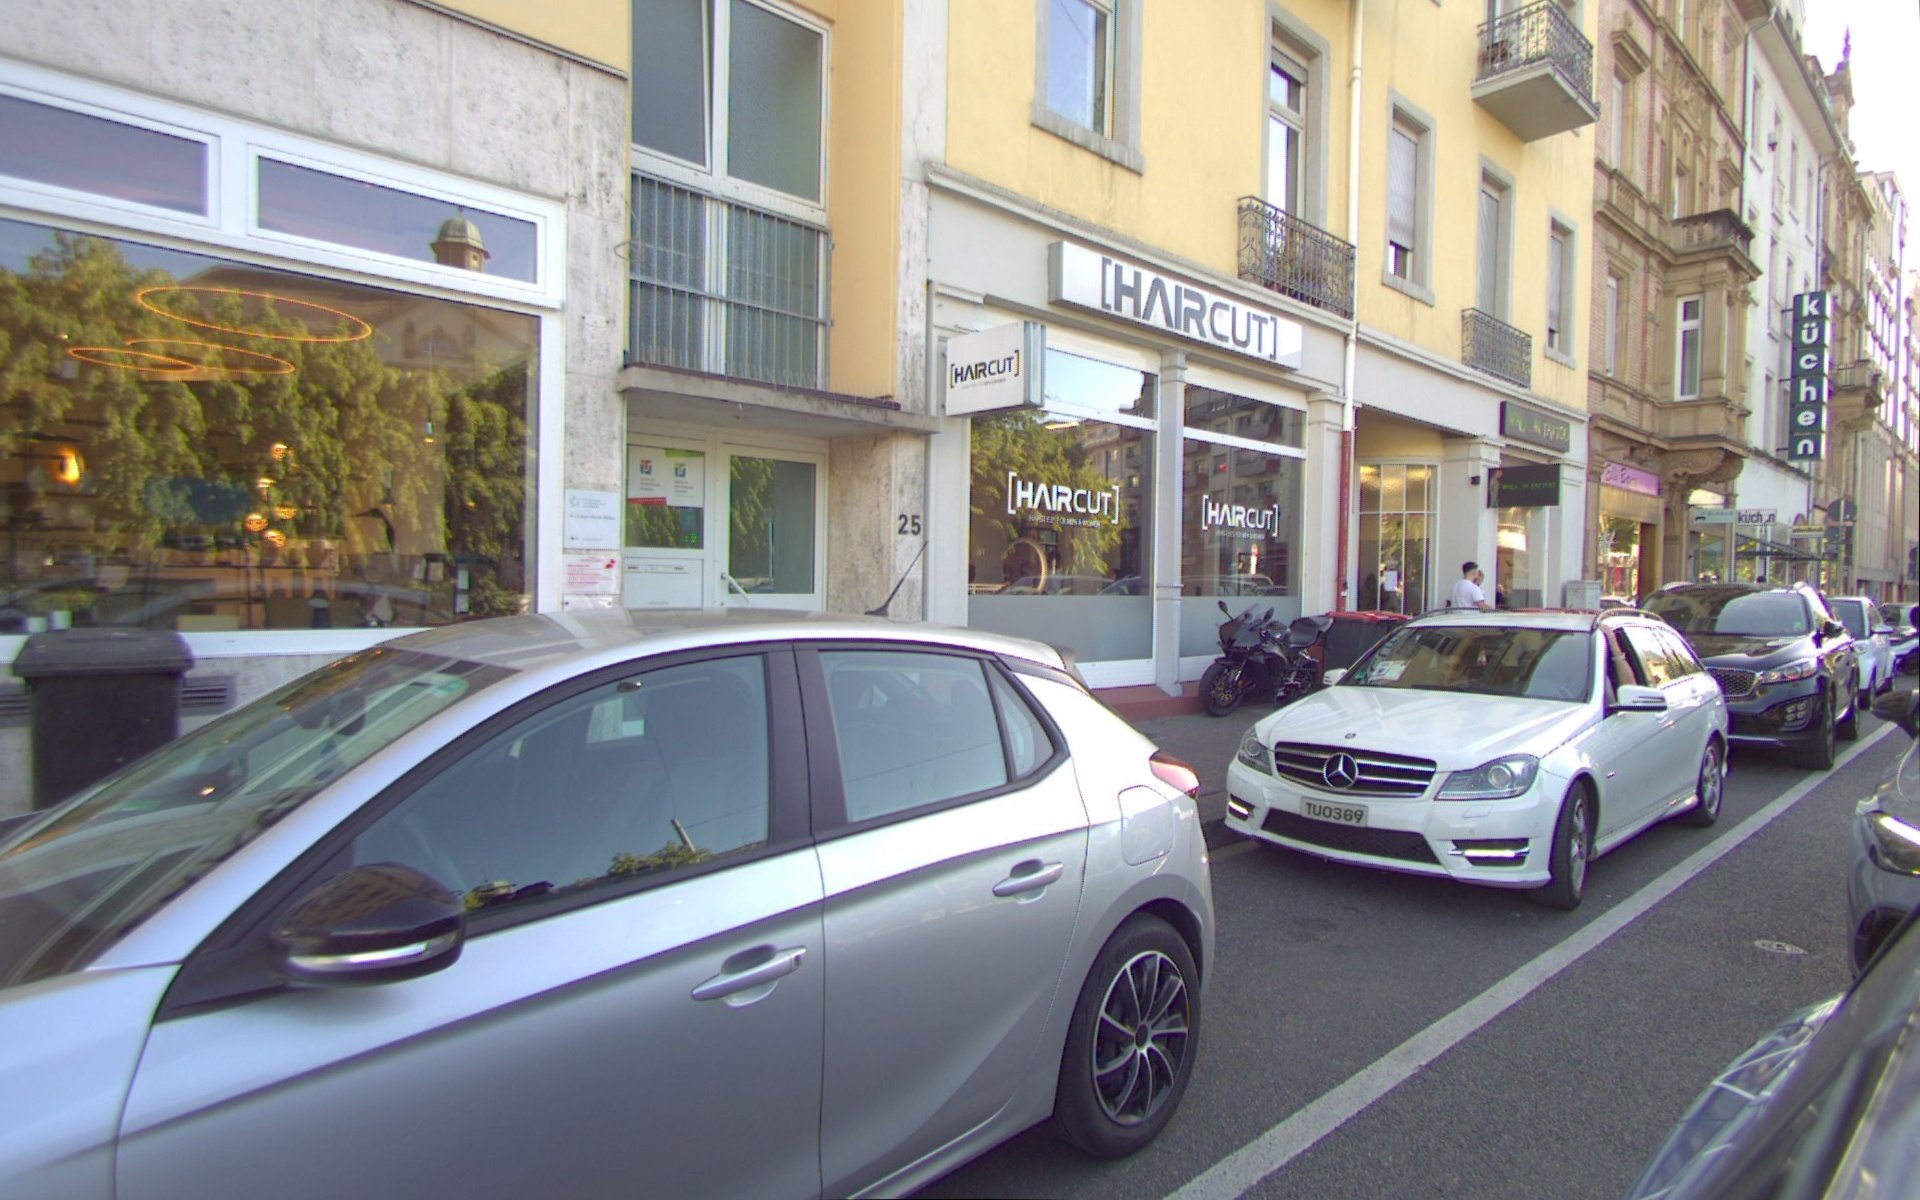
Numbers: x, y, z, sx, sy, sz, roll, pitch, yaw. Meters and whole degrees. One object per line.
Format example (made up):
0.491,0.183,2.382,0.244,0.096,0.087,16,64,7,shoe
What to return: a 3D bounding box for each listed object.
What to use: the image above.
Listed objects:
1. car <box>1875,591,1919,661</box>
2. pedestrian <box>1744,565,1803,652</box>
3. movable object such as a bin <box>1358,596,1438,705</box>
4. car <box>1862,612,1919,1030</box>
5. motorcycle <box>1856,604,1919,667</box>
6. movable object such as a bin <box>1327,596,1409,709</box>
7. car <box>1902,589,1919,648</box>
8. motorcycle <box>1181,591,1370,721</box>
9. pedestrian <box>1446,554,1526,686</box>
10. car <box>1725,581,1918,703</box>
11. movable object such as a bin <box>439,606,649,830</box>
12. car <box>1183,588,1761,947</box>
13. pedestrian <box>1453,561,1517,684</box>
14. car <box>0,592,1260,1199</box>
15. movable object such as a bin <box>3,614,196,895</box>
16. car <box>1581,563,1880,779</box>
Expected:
22.235,0.557,23.027,3.931,1.504,1.713,0,1,-42,car
15.861,0.152,19.733,0.750,1.637,0.794,0,1,-43,pedestrian
5.144,0.566,11.885,0.633,1.222,0.647,0,0,-40,movable object such as a bin
5.338,0.768,4.289,4.183,1.396,1.846,0,1,-42,car
19.285,0.710,20.514,1.514,1.248,0.771,1,0,1,motorcycle
4.634,0.572,11.496,0.633,1.222,0.647,0,0,-40,movable object such as a bin
26.398,0.483,26.857,3.931,1.504,1.713,0,1,-42,car
3.318,0.523,10.523,2.208,1.179,0.773,0,4,-41,motorcycle
6.740,0.238,12.968,0.687,1.637,0.643,0,0,-32,pedestrian
12.660,0.530,14.836,2.965,1.587,1.695,0,1,-40,car
-2.276,0.583,5.539,0.878,1.066,0.752,0,1,-40,movable object such as a bin
3.478,0.679,6.389,4.519,1.480,1.757,0,1,-42,car
7.187,0.293,13.849,0.631,1.637,0.572,0,0,-40,pedestrian
-1.034,0.700,2.315,3.642,1.415,1.652,0,1,-42,car
-3.703,0.599,4.382,0.591,1.041,0.812,0,1,-40,movable object such as a bin
8.038,0.535,10.366,1.853,1.719,4.623,1,1,45,car
